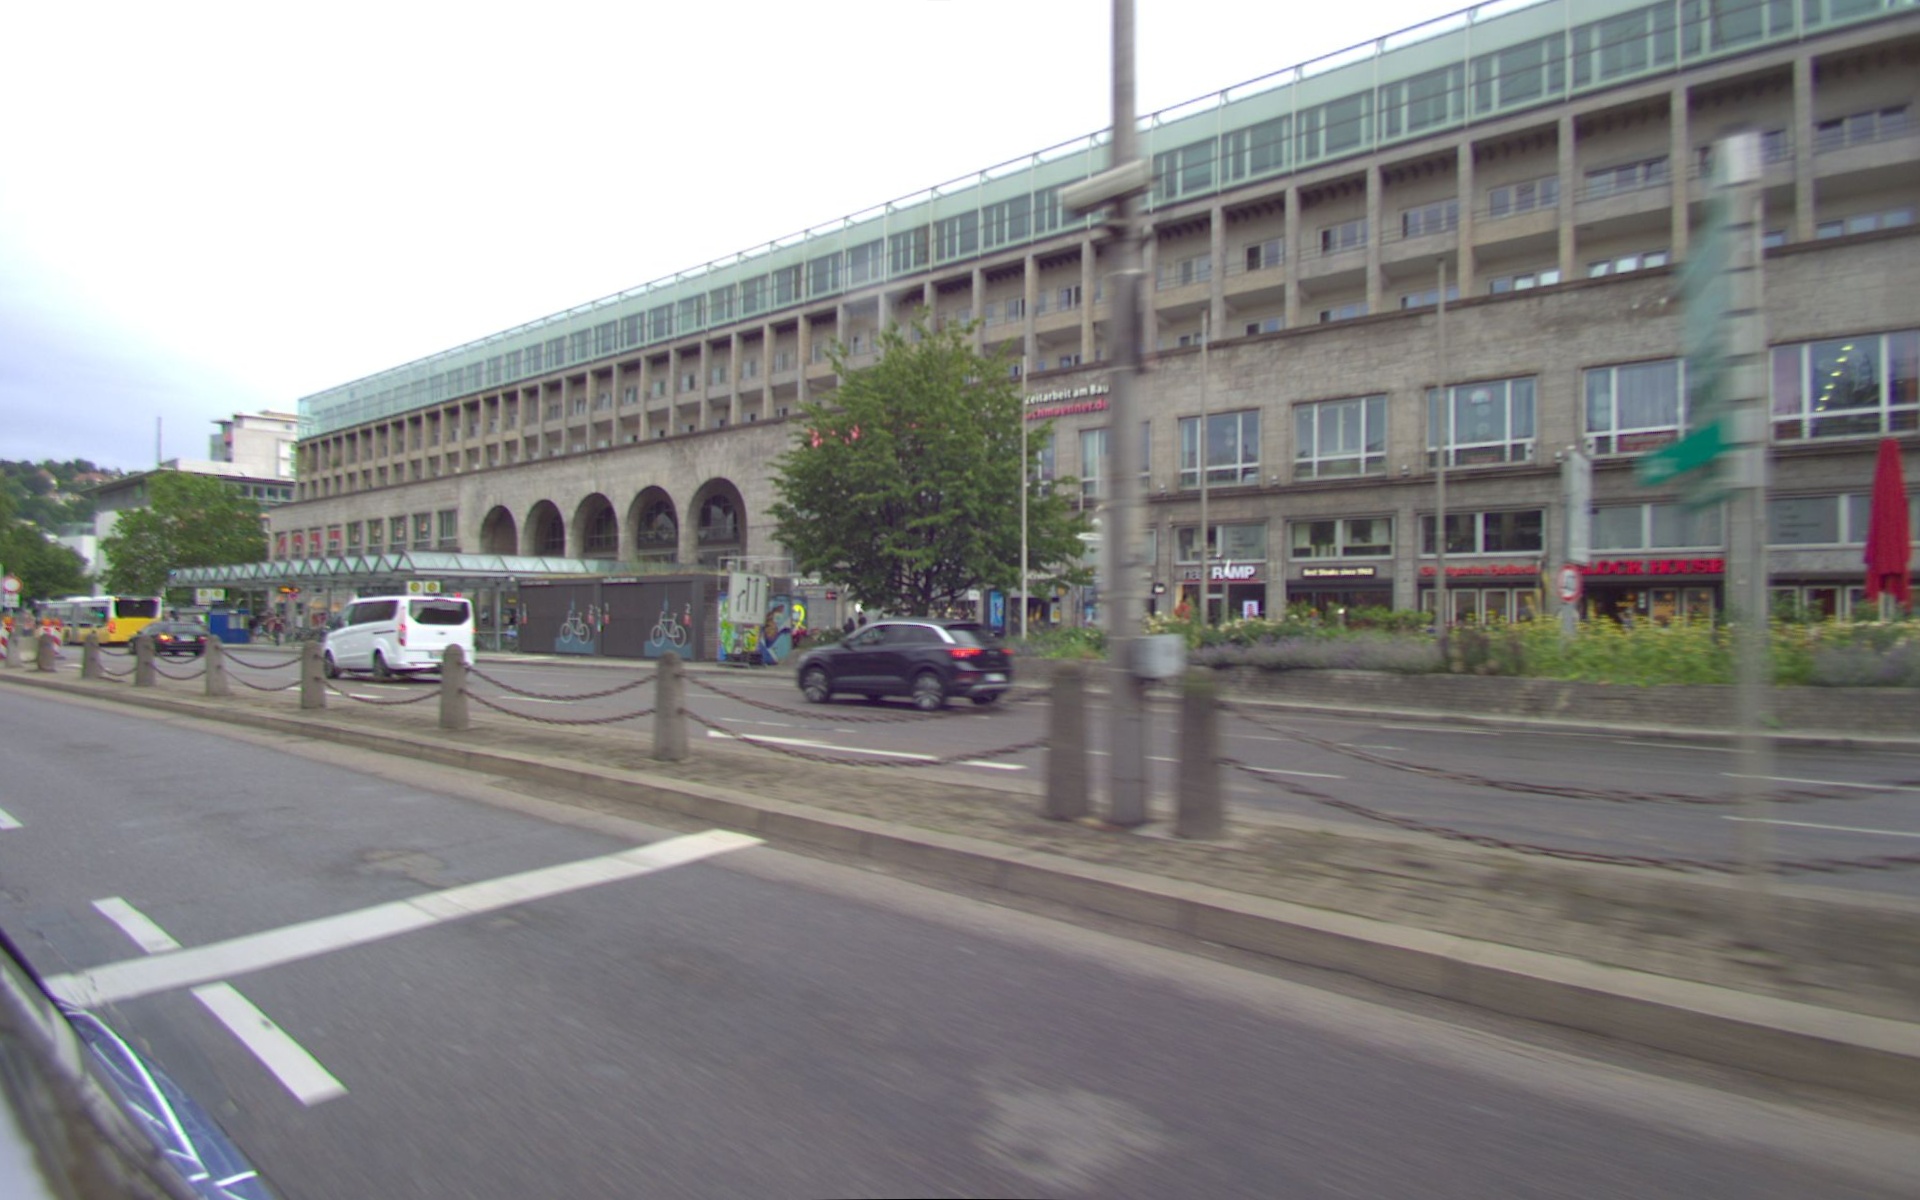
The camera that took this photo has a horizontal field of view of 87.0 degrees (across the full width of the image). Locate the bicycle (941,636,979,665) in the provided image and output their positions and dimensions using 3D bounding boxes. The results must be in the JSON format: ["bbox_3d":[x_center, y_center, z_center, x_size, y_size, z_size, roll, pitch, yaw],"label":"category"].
[{"bbox_3d":[0.021,2.078,41.876,0.502,1.169,1.886,-2,-3,39],"label":"bicycle"}]

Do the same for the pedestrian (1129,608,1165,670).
[{"bbox_3d":[6.214,1.296,33.743,0.758,2.029,1.086,0,-2,-14],"label":"pedestrian"}]

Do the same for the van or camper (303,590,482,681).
[{"bbox_3d":[-13.964,0.845,24.769,5.181,2.029,1.975,-1,-2,38],"label":"van or camper"}]

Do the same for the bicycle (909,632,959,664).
[{"bbox_3d":[-1.081,2.021,42.810,0.663,1.303,2.341,-2,-2,42],"label":"bicycle"}]

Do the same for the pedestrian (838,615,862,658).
[{"bbox_3d":[-4.550,1.500,41.851,0.727,1.765,0.659,-2,-2,37],"label":"pedestrian"}]

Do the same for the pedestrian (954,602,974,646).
[{"bbox_3d":[0.165,1.027,43.462,0.603,1.869,0.674,-2,-2,30],"label":"pedestrian"}]

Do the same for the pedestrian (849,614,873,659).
[{"bbox_3d":[-4.156,1.509,42.402,0.727,1.867,0.659,-2,-2,37],"label":"pedestrian"}]

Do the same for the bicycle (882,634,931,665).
[{"bbox_3d":[-2.308,2.128,44.073,0.663,1.303,2.341,-2,-2,42],"label":"bicycle"}]

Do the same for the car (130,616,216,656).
[{"bbox_3d":[-34.156,1.548,43.867,4.974,1.629,1.973,-2,-2,40],"label":"car"}]

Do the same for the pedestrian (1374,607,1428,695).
[{"bbox_3d":[8.952,1.022,20.547,0.793,1.747,0.659,-2,-3,44],"label":"pedestrian"}]

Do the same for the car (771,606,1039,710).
[{"bbox_3d":[-1.057,0.972,17.947,4.568,1.629,1.975,-2,-2,37],"label":"car"}]

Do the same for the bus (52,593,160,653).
[{"bbox_3d":[-53.356,1.487,63.117,10.555,3.486,2.851,-2,-2,37],"label":"bus"}]

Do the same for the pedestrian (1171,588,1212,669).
[{"bbox_3d":[5.936,0.737,26.002,0.792,2.029,0.660,-2,-3,40],"label":"pedestrian"}]

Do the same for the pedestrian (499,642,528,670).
[{"bbox_3d":[-19.121,2.393,43.363,1.259,1.191,0.574,-2,-1,37],"label":"pedestrian"}]

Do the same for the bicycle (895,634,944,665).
[{"bbox_3d":[-1.708,2.105,43.428,0.663,1.303,2.341,-2,-2,42],"label":"bicycle"}]

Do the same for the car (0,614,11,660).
[{"bbox_3d":[-38.550,1.462,39.148,4.775,1.735,1.974,-2,-2,38],"label":"car"}]

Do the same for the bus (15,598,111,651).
[{"bbox_3d":[-61.801,1.742,69.593,10.555,3.402,2.851,-2,-3,37],"label":"bus"}]
